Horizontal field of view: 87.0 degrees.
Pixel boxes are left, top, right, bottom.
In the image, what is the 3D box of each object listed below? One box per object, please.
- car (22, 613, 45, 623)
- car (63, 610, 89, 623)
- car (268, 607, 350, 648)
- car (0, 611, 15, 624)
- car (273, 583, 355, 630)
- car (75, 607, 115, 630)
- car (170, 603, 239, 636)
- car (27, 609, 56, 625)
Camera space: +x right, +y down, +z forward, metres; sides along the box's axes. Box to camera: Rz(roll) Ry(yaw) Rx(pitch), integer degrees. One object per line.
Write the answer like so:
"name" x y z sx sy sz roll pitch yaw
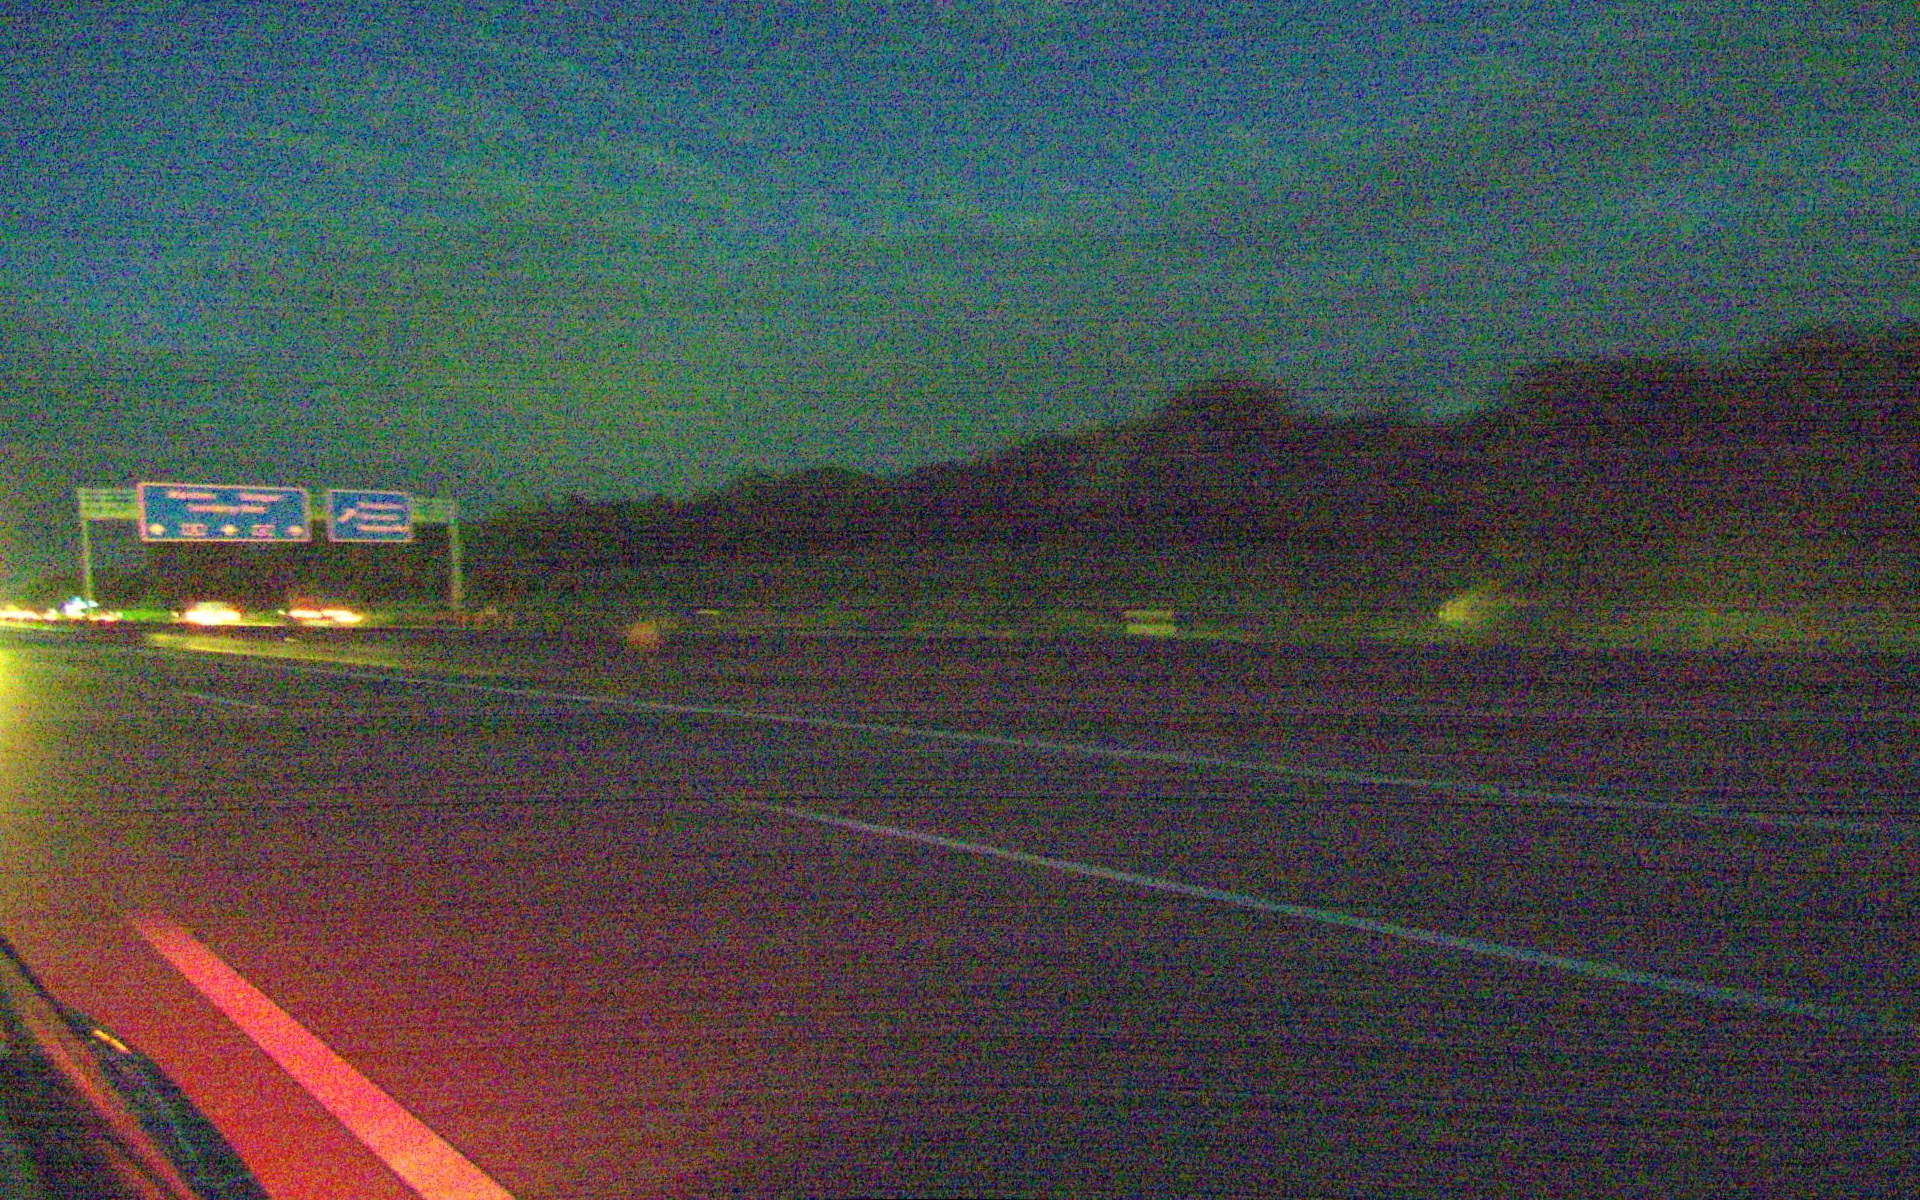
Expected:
"car" -146.950 2.866 160.484 5.199 1.520 1.973 -1 0 41
"car" -110.859 2.044 126.890 5.184 1.520 1.972 -1 0 43
"car" -29.844 1.233 46.357 4.657 1.747 1.972 -1 0 42
"car" -141.850 2.614 150.164 4.658 1.747 1.972 -1 0 43
"car" -43.007 0.439 67.285 8.330 2.958 2.432 -1 0 42
"car" -71.254 1.533 83.329 4.658 1.747 1.972 -1 0 43
"car" -46.889 1.198 62.750 5.417 1.899 2.124 -1 0 39
"car" -103.393 1.882 113.903 4.658 1.747 1.972 -1 0 43
